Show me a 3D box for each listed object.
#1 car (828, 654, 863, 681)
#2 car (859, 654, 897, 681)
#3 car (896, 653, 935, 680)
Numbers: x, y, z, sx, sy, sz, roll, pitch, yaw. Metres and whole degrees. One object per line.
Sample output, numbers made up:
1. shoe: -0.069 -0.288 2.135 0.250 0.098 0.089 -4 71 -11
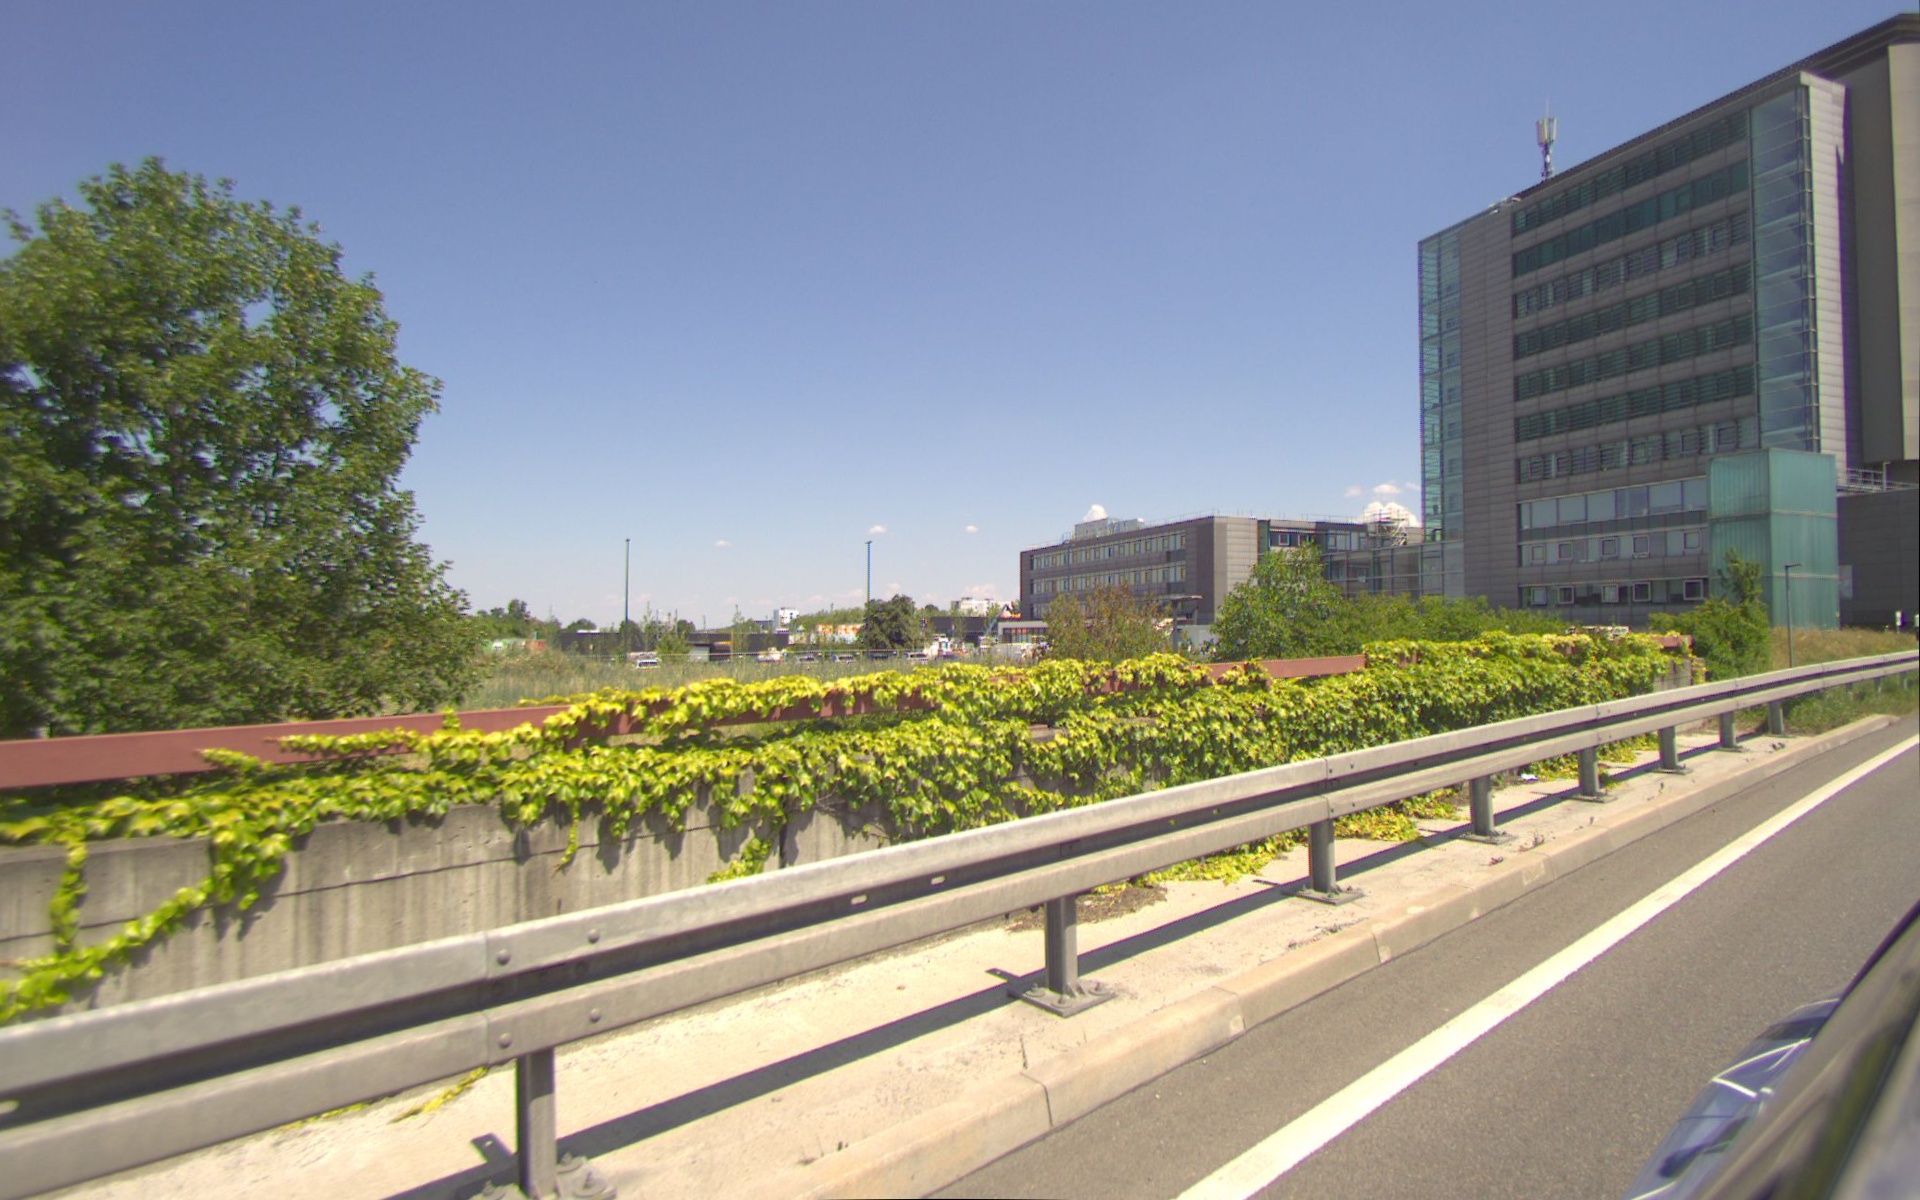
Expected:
1. car: -8.920 5.207 78.444 1.958 2.040 4.006 1 -3 -18
2. car: -6.459 5.240 79.351 1.958 2.040 4.006 1 -3 -19
3. car: -3.570 5.270 80.237 1.958 2.040 4.006 1 -3 -19
